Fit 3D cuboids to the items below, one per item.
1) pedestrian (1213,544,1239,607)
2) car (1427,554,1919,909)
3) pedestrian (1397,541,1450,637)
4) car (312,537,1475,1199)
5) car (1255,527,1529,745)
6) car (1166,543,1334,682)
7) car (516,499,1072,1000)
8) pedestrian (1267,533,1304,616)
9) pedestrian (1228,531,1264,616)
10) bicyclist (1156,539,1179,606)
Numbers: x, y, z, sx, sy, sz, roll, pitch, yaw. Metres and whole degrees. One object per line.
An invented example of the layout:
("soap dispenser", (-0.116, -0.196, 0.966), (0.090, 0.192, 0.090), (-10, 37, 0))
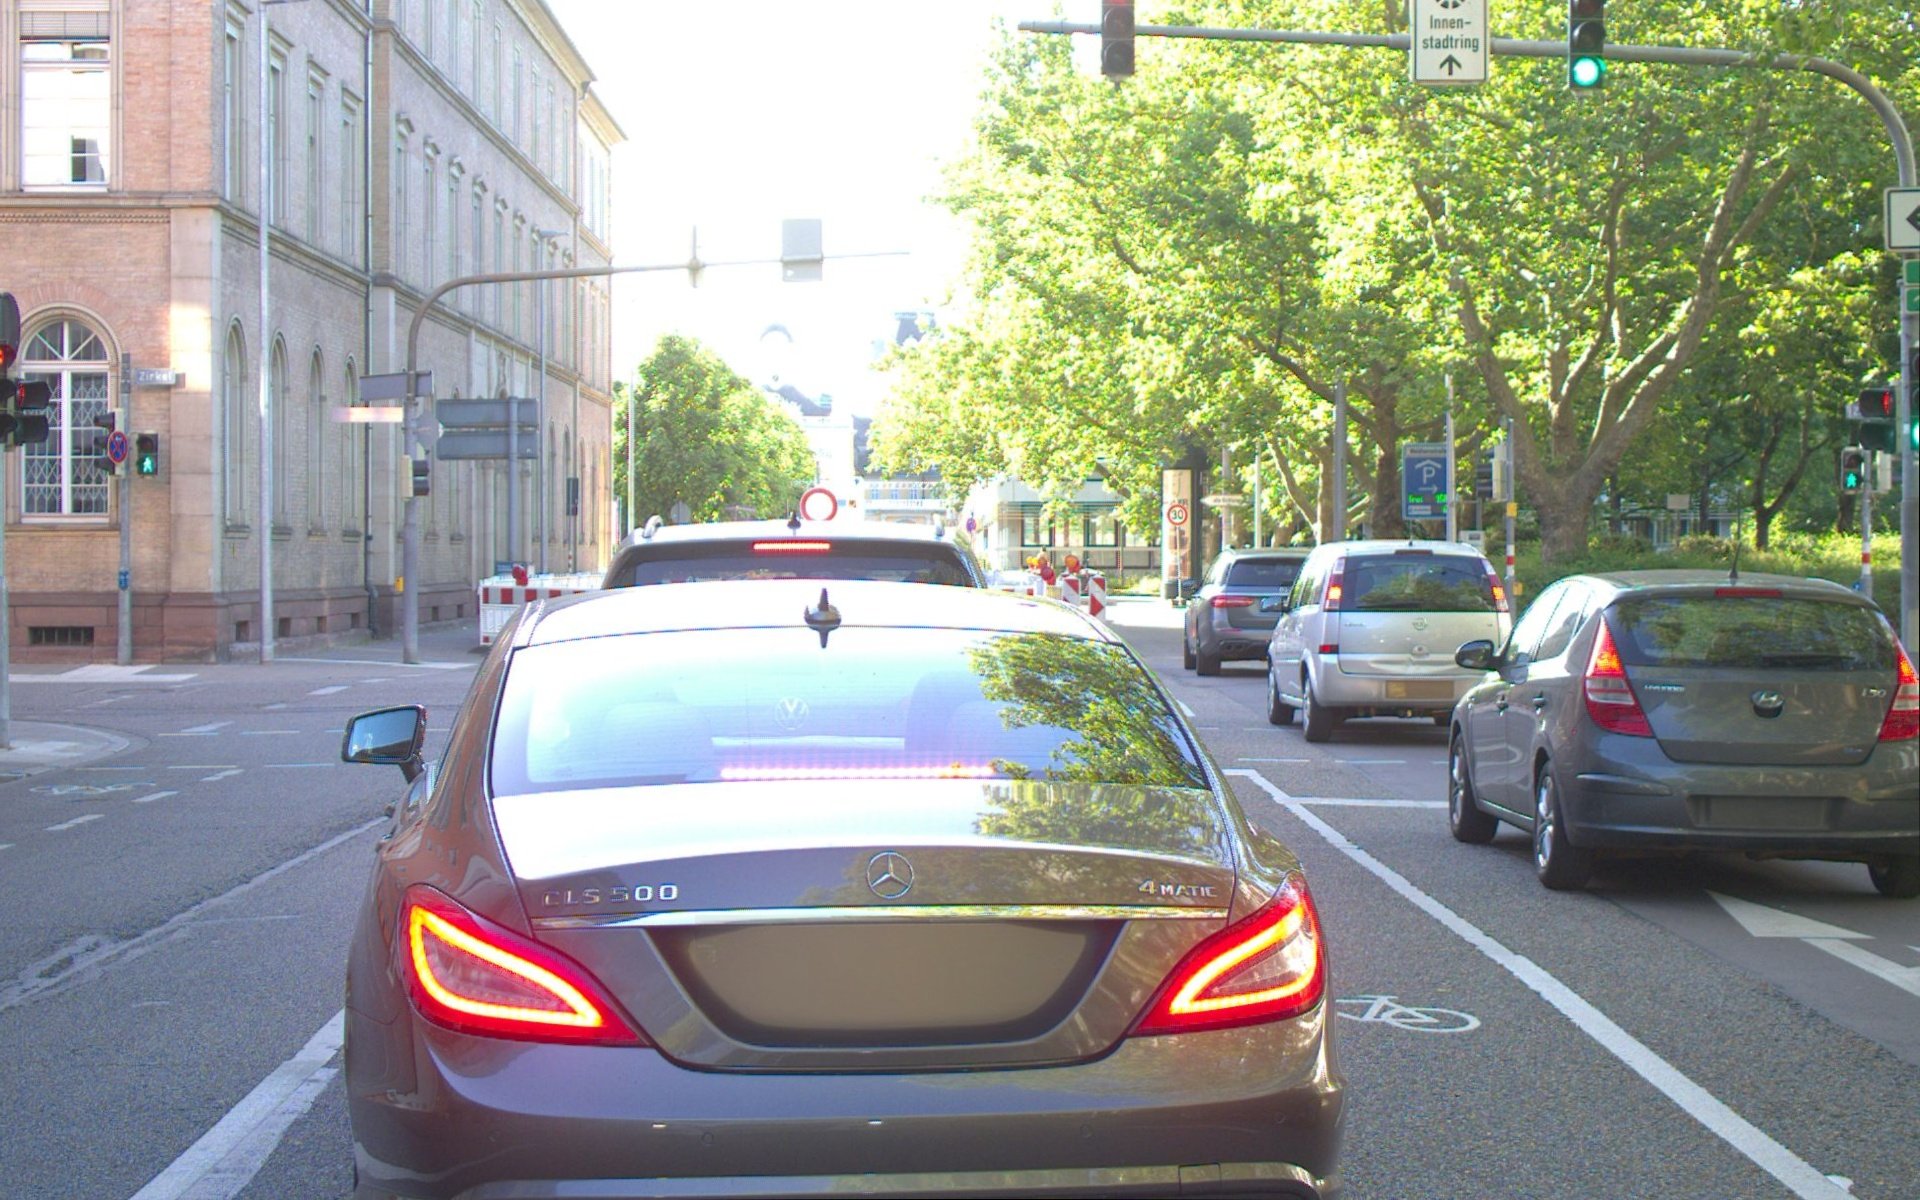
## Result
("pedestrian", (6.447, -0.598, 83.316), (0.555, 1.504, 0.346), (1, 0, -4))
("car", (3.444, 0.544, 16.884), (1.704, 1.514, 4.000), (0, 1, -1))
("pedestrian", (7.485, -0.183, 55.567), (0.635, 1.540, 0.910), (1, 0, -5))
("car", (-0.363, 0.628, 7.470), (1.861, 1.514, 4.001), (0, 1, -8))
("car", (3.487, 0.260, 28.350), (1.731, 1.656, 3.681), (1, 1, -1))
("car", (3.363, 0.122, 40.402), (1.601, 1.543, 3.681), (1, 1, -1))
("car", (-0.584, 0.473, 13.601), (1.861, 1.677, 4.000), (0, 1, -1))
("pedestrian", (6.944, -0.549, 73.352), (0.635, 1.754, 0.699), (1, 0, -4))
("pedestrian", (6.091, -0.571, 73.342), (0.635, 1.791, 0.699), (1, 0, -4))
("bicyclist", (6.338, -0.854, 105.016), (0.594, 2.032, 0.566), (1, 0, -4))
